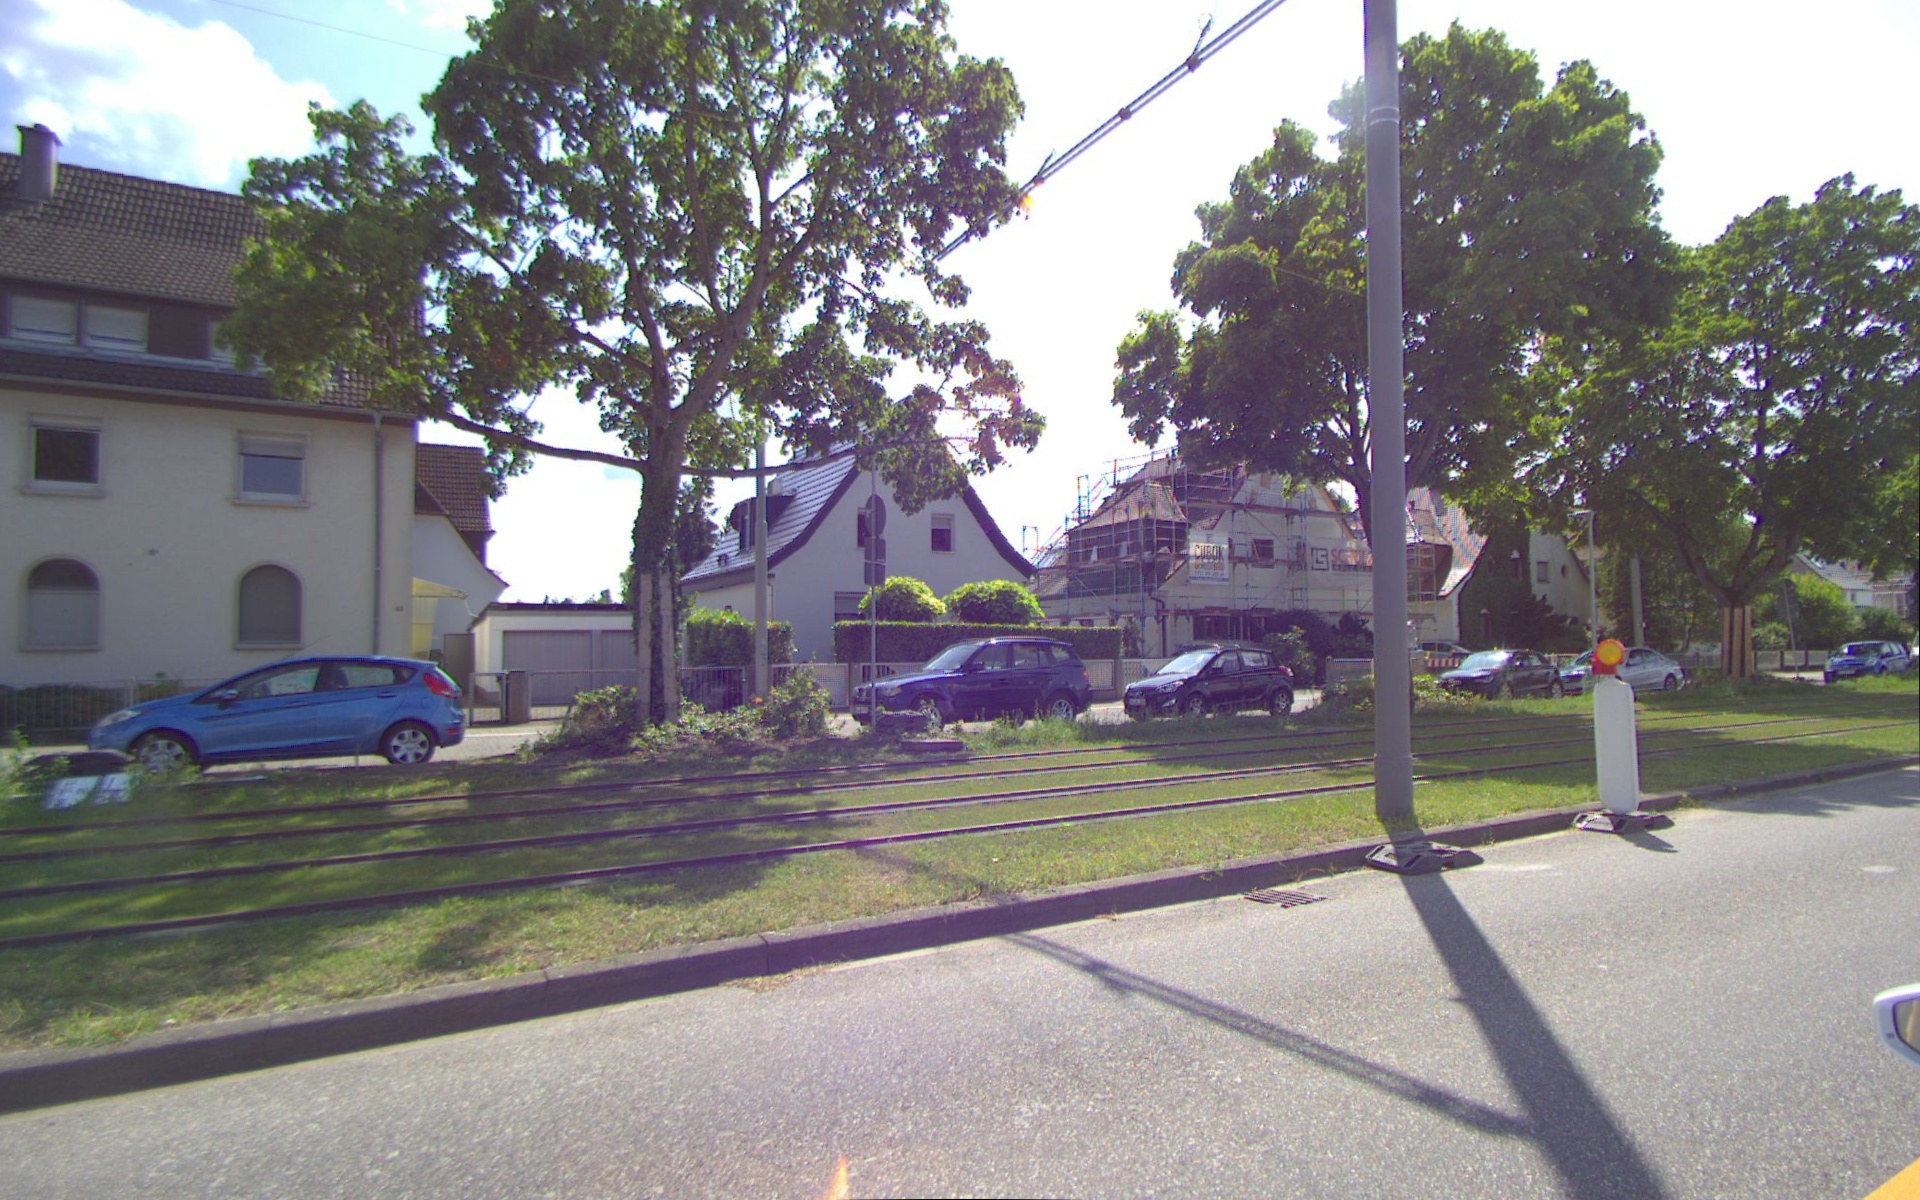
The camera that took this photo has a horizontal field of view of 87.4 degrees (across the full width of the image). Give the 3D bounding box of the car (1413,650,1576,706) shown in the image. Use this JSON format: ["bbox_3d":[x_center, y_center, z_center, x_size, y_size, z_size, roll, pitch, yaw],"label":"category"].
[{"bbox_3d":[13.891,2.031,26.111,3.807,1.334,1.985,2,-6,-30],"label":"car"}]

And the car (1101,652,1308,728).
[{"bbox_3d":[5.146,1.857,21.119,3.953,1.457,1.985,2,-5,-30],"label":"car"}]

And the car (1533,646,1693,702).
[{"bbox_3d":[18.771,2.091,28.827,4.880,1.501,1.797,2,-4,-30],"label":"car"}]

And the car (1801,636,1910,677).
[{"bbox_3d":[33.633,2.128,37.715,3.956,1.472,1.984,2,-4,-32],"label":"car"}]

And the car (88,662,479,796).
[{"bbox_3d":[-8.269,1.525,12.739,3.840,1.454,1.748,2,-4,-28],"label":"car"}]

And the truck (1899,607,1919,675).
[{"bbox_3d":[43.024,1.682,43.182,6.202,2.802,1.985,1,-6,-30],"label":"truck"}]

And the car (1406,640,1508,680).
[{"bbox_3d":[21.840,2.656,44.258,1.851,1.705,3.632,2,-4,-30],"label":"car"}]

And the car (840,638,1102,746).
[{"bbox_3d":[0.239,1.576,17.922,4.345,1.713,1.982,2,-4,-33],"label":"car"}]

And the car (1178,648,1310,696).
[{"bbox_3d":[9.266,2.332,33.035,1.958,1.419,3.970,2,-3,-29],"label":"car"}]
